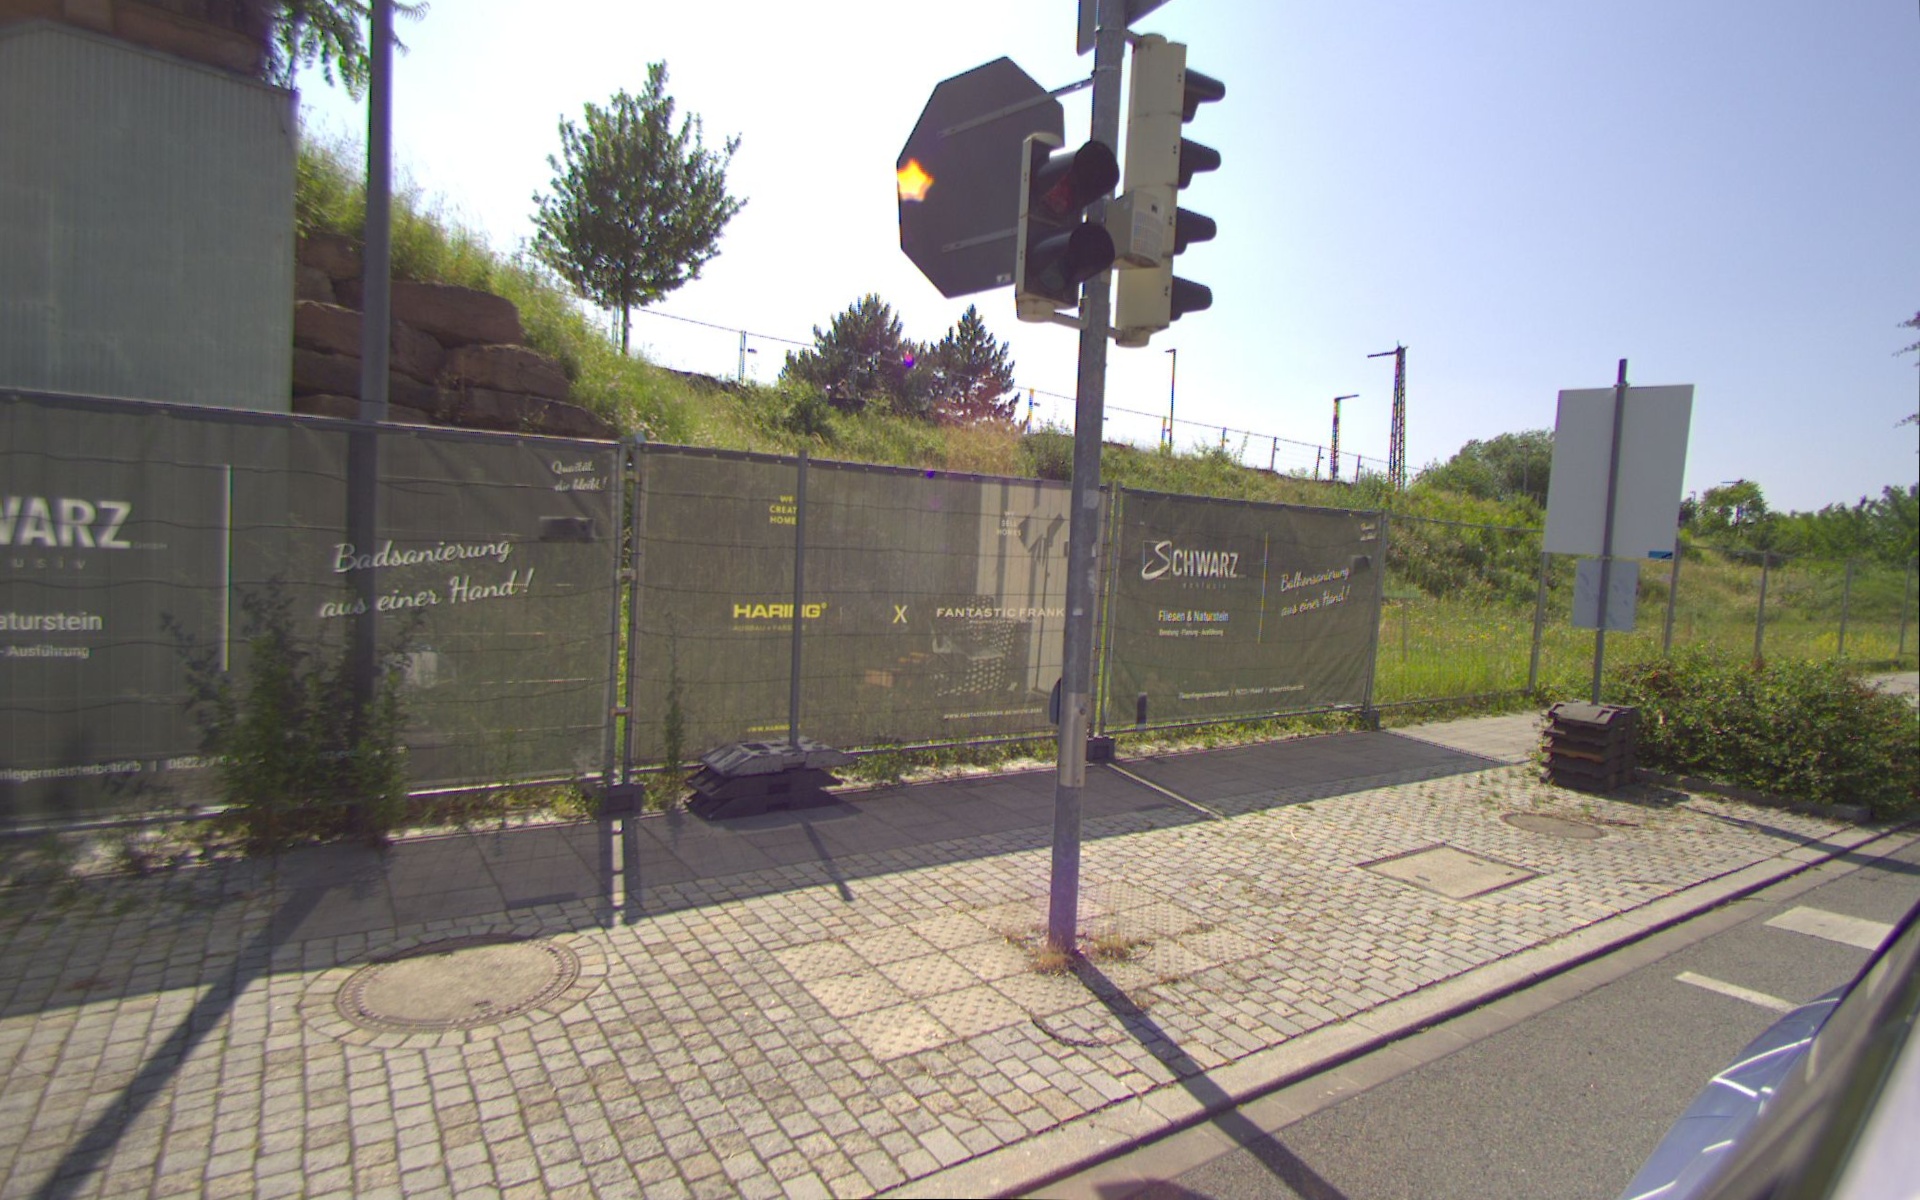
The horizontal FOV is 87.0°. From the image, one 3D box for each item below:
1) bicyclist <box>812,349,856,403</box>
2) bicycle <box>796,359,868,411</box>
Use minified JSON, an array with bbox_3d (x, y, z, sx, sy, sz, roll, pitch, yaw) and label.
[{"bbox_3d":[-3.992,-7.063,32.004,1.045,1.405,0.951,-1,1,-43],"label":"bicyclist"},{"bbox_3d":[-4.027,-6.751,31.969,2.138,1.228,0.935,-1,1,-43],"label":"bicycle"}]
